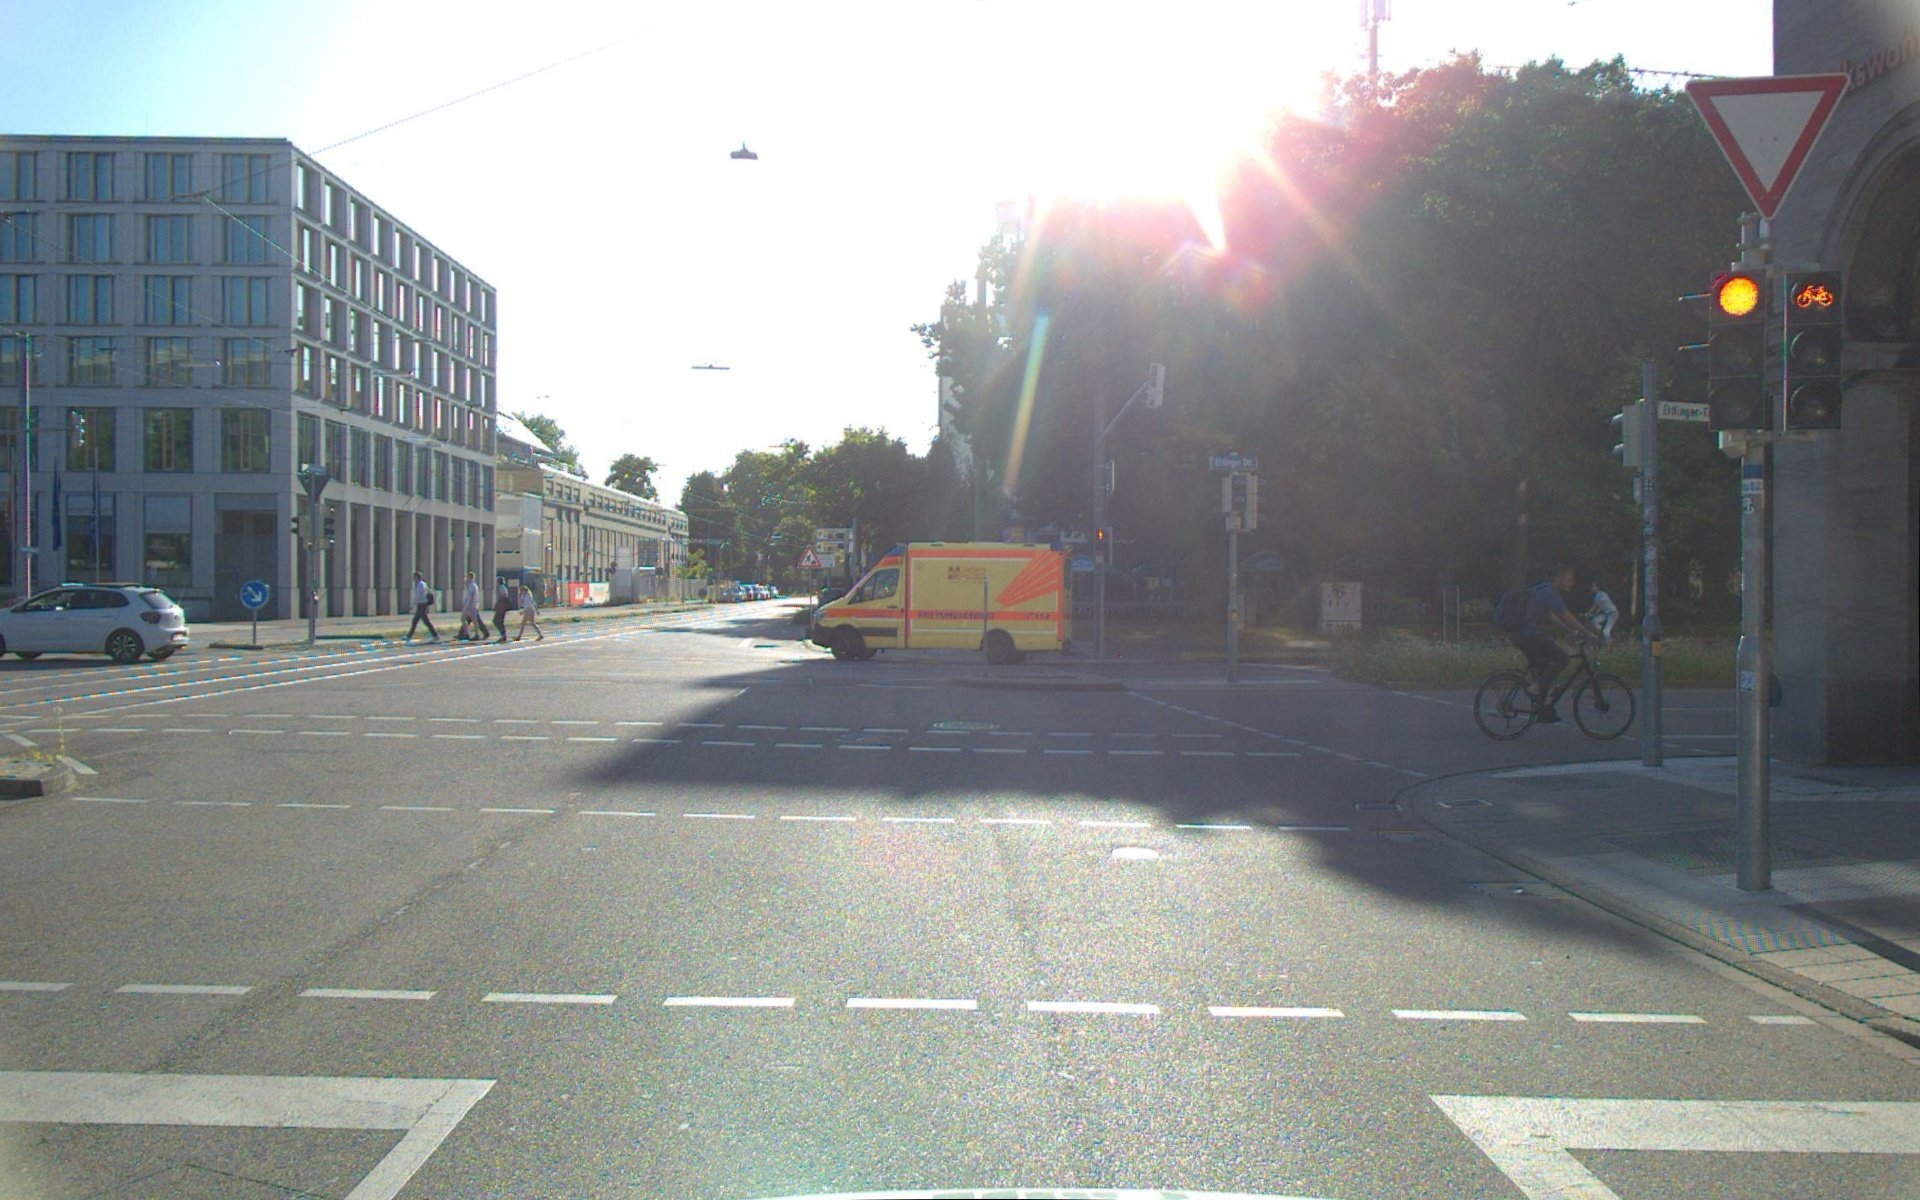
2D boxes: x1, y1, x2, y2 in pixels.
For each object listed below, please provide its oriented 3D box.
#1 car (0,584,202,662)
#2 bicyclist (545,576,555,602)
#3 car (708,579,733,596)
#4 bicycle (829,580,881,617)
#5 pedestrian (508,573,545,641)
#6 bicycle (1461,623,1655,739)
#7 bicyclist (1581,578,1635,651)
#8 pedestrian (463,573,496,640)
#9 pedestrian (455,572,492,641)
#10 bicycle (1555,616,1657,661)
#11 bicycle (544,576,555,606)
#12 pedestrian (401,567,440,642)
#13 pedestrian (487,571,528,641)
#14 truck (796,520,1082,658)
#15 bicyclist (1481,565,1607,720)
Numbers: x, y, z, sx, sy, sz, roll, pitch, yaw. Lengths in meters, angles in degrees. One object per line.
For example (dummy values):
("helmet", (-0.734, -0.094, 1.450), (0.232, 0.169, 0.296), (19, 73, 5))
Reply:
("car", (-16.968, 0.443, 31.866), (3.964, 1.459, 1.630), (0, -1, -5))
("bicyclist", (-32.157, -0.856, 129.685), (0.559, 2.059, 0.761), (0, 0, -2))
("car", (-22.545, -1.162, 155.985), (1.856, 1.635, 4.498), (0, 0, -3))
("bicycle", (-5.163, -0.056, 81.373), (2.495, 1.774, 1.037), (1, 0, -1))
("pedestrian", (-11.835, 0.199, 45.155), (0.851, 1.835, 0.532), (0, 0, 4))
("bicycle", (6.474, 0.865, 17.973), (1.834, 1.178, 0.766), (0, 2, 0))
("bicyclist", (14.235, 0.313, 36.327), (0.955, 1.587, 0.574), (0, 0, -2))
("pedestrian", (-13.205, 0.179, 45.431), (0.723, 1.835, 0.532), (0, 0, 4))
("pedestrian", (-13.098, 0.171, 44.534), (0.723, 1.835, 0.716), (0, 0, 4))
("bicycle", (14.195, 0.837, 36.352), (2.023, 0.949, 0.574), (0, 0, -2))
("bicycle", (-32.152, -0.738, 129.635), (0.559, 2.336, 1.422), (0, 0, -2))
("pedestrian", (-14.165, 0.106, 43.468), (0.785, 1.951, 0.637), (0, 0, 4))
("pedestrian", (-12.042, 0.154, 44.030), (0.852, 1.835, 0.664), (0, 0, 4))
("truck", (-0.426, -0.253, 38.786), (6.330, 3.068, 2.728), (0, 0, 9))
("bicyclist", (6.323, 0.442, 17.955), (1.101, 1.622, 0.767), (0, 2, 0))
